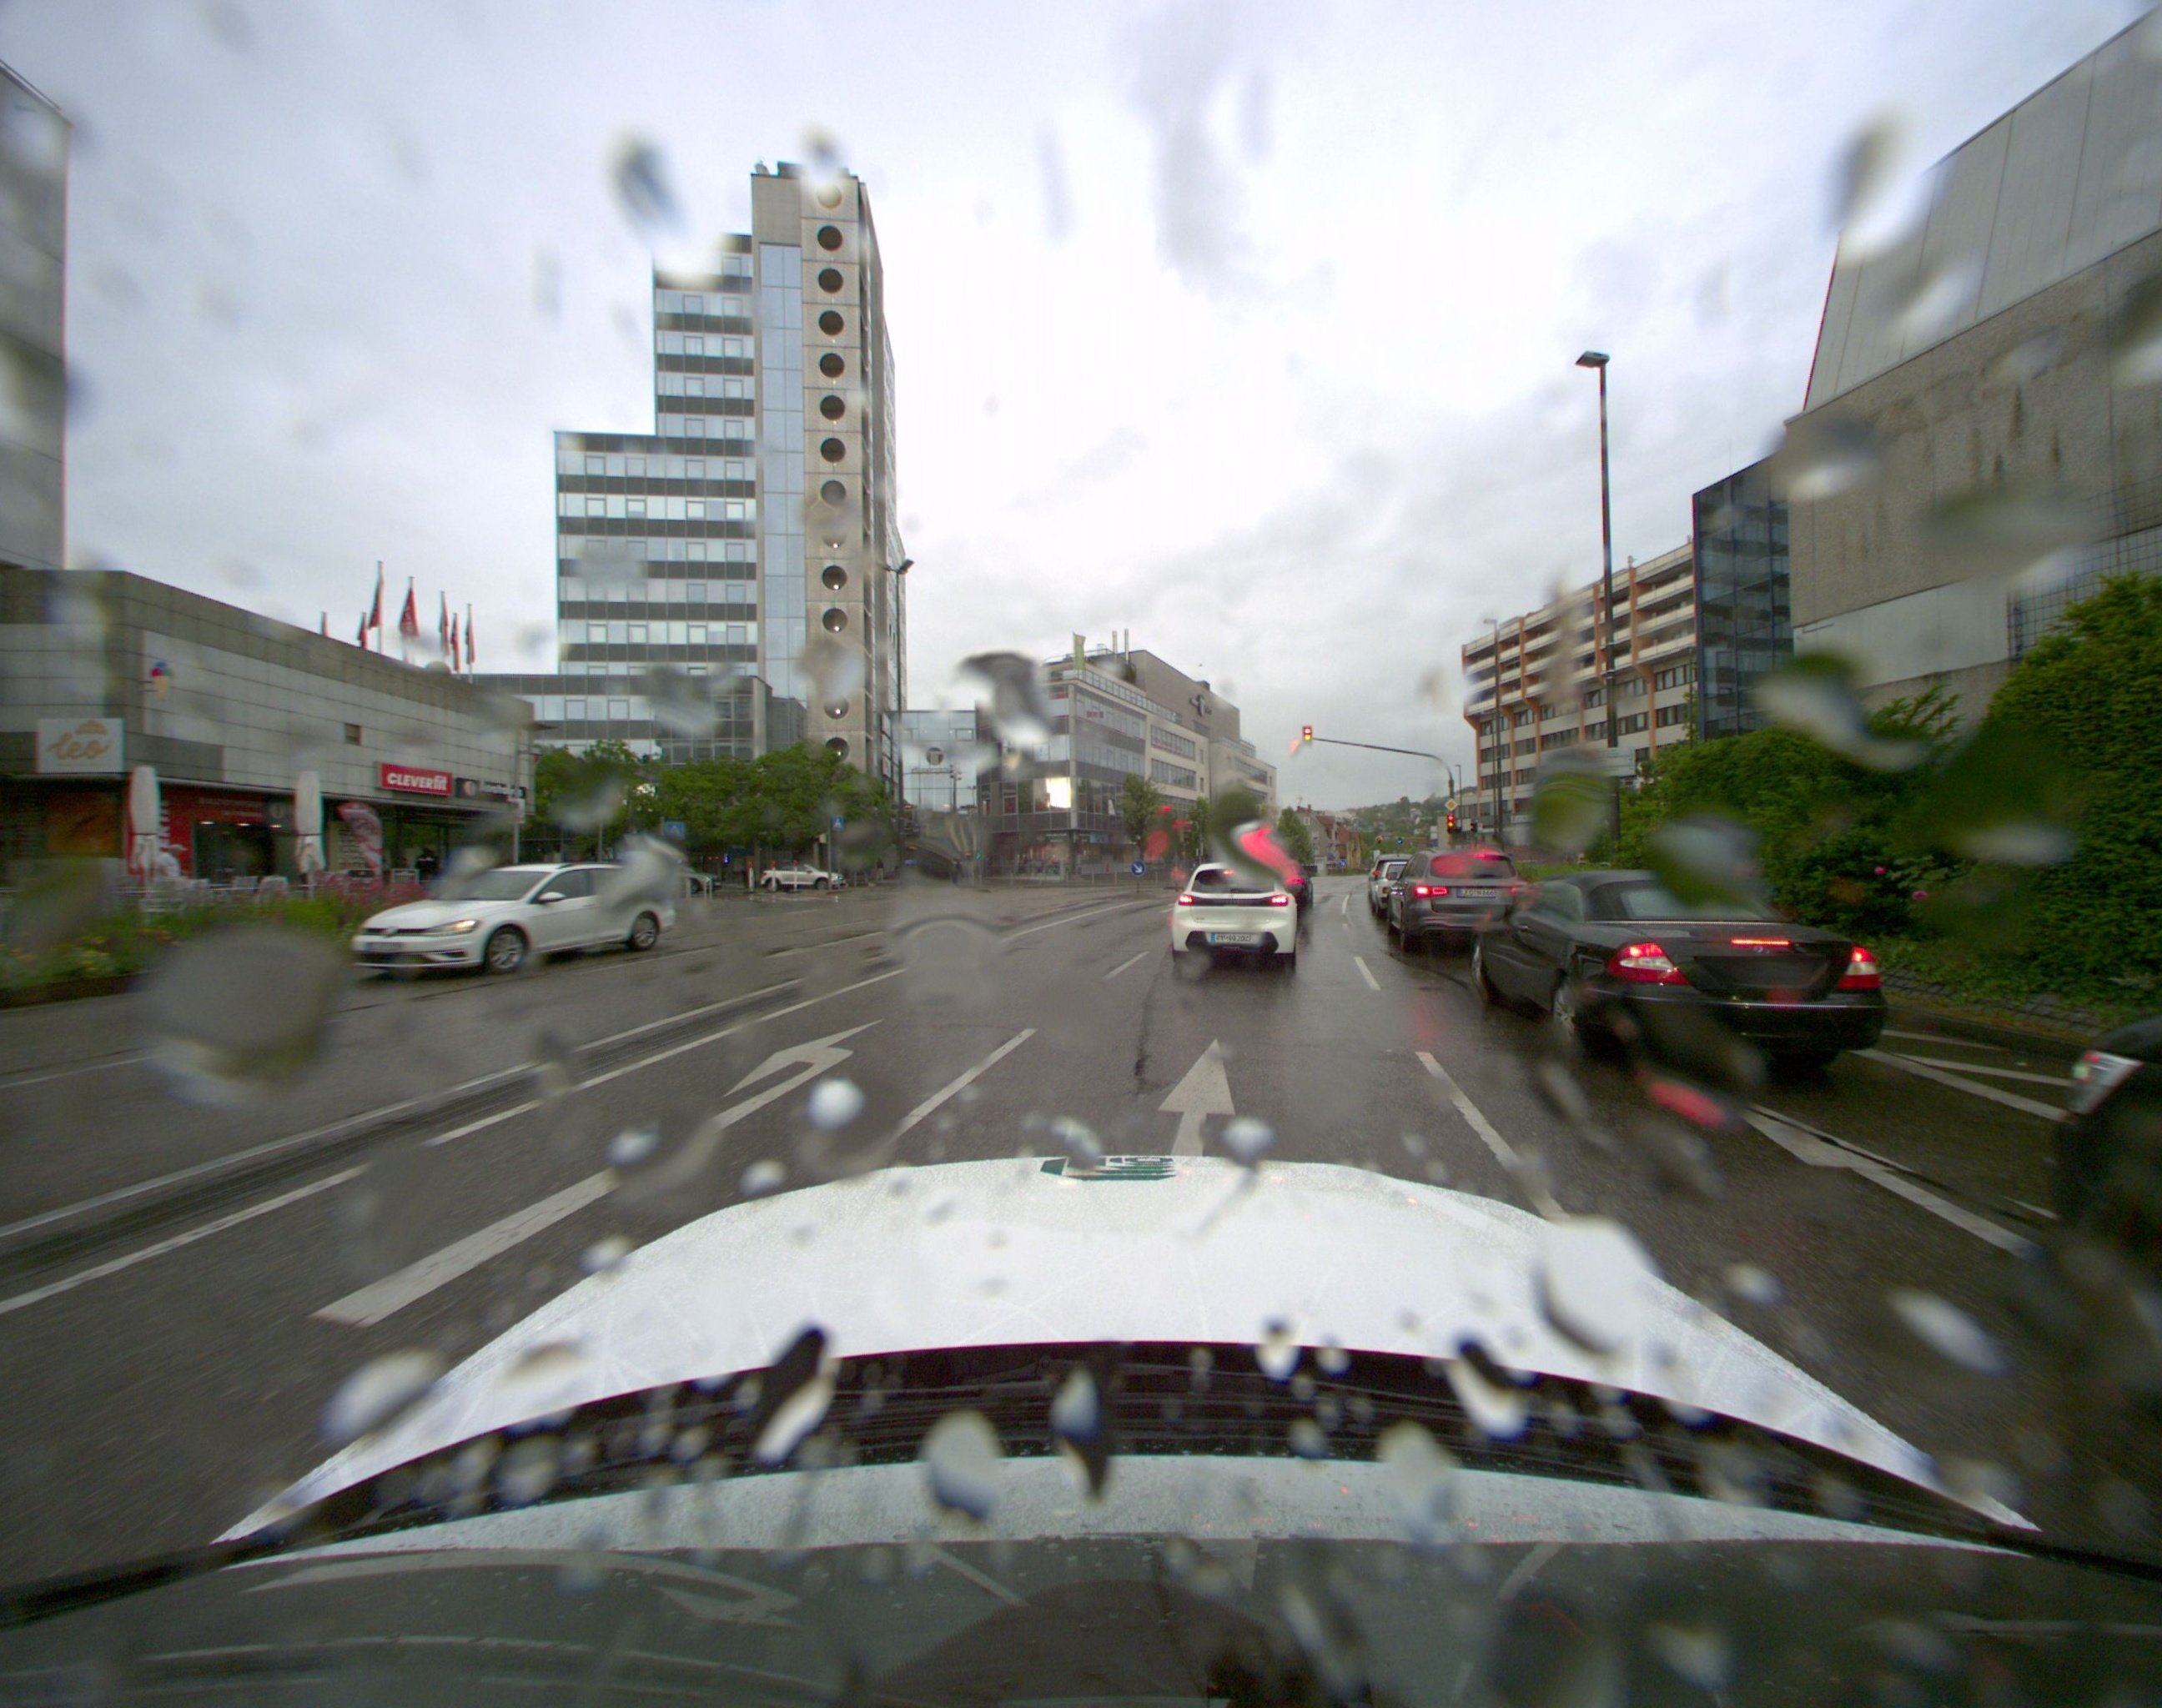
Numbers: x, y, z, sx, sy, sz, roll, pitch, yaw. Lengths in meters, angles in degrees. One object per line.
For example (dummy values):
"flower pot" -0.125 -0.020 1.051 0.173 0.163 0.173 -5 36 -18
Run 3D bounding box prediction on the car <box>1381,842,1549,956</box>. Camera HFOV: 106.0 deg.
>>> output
"car" 6.335 0.648 13.945 1.887 1.621 4.353 0 0 15

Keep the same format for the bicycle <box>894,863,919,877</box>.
"bicycle" -16.812 1.554 78.622 2.271 1.247 0.675 -1 -1 -8

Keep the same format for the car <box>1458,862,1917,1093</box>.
"car" 4.810 0.780 7.363 1.620 1.386 4.530 0 0 12

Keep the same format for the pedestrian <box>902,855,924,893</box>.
"pedestrian" -9.196 1.068 44.497 1.163 2.014 1.323 0 -1 -12

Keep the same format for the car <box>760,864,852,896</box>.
"car" -14.454 1.336 42.941 4.179 1.595 1.869 0 0 -1

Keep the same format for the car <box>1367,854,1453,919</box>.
"car" 8.246 0.742 20.701 1.621 1.448 4.287 0 0 16

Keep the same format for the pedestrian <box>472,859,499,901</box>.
"pedestrian" -19.351 0.851 26.457 0.491 1.348 0.540 -1 -1 29

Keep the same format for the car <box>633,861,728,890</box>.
"car" -20.941 1.115 42.703 4.031 1.420 1.870 0 0 1

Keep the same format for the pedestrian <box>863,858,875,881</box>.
"pedestrian" -17.631 1.261 67.659 0.830 1.868 0.751 -1 -1 -9

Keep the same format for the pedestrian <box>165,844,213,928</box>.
"pedestrian" -18.488 0.648 16.888 0.706 1.693 0.661 -1 -1 42

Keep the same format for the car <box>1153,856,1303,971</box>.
"car" 2.398 0.770 12.470 1.857 1.462 3.889 0 0 16

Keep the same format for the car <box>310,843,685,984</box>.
"car" -8.205 0.729 12.137 1.874 1.682 4.517 0 0 9

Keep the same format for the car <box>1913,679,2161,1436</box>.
"car" 3.429 0.505 0.334 1.984 1.894 4.599 0 0 9

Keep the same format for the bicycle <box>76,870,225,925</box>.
"bicycle" -21.316 0.990 18.693 2.538 1.223 0.696 0 -1 -2

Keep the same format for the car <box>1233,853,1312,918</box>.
"car" 5.043 0.743 21.127 1.801 1.530 3.828 0 0 16

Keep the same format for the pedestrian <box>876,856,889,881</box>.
"pedestrian" -16.520 1.195 67.780 0.757 2.014 0.717 -1 -1 15

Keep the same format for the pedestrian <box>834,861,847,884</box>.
"pedestrian" -19.680 1.502 66.581 0.756 1.868 0.825 -1 -1 -33

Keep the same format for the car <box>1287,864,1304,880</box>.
"car" 25.145 2.104 95.378 1.495 1.725 3.674 -1 0 21

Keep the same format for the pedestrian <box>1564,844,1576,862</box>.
"pedestrian" 36.030 -0.061 60.009 0.701 1.346 0.659 -3 -2 28

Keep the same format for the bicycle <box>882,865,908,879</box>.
"bicycle" -16.841 1.653 73.710 2.271 1.247 0.675 -1 -1 -8

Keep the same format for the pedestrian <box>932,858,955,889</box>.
"pedestrian" -8.047 1.139 47.563 0.837 1.819 1.030 -2 -1 26

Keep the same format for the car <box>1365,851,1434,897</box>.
"car" 10.462 0.630 26.979 1.896 1.400 3.474 -1 0 18

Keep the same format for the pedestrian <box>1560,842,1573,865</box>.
"pedestrian" 35.671 -0.028 59.832 0.701 1.607 0.660 5 3 30
